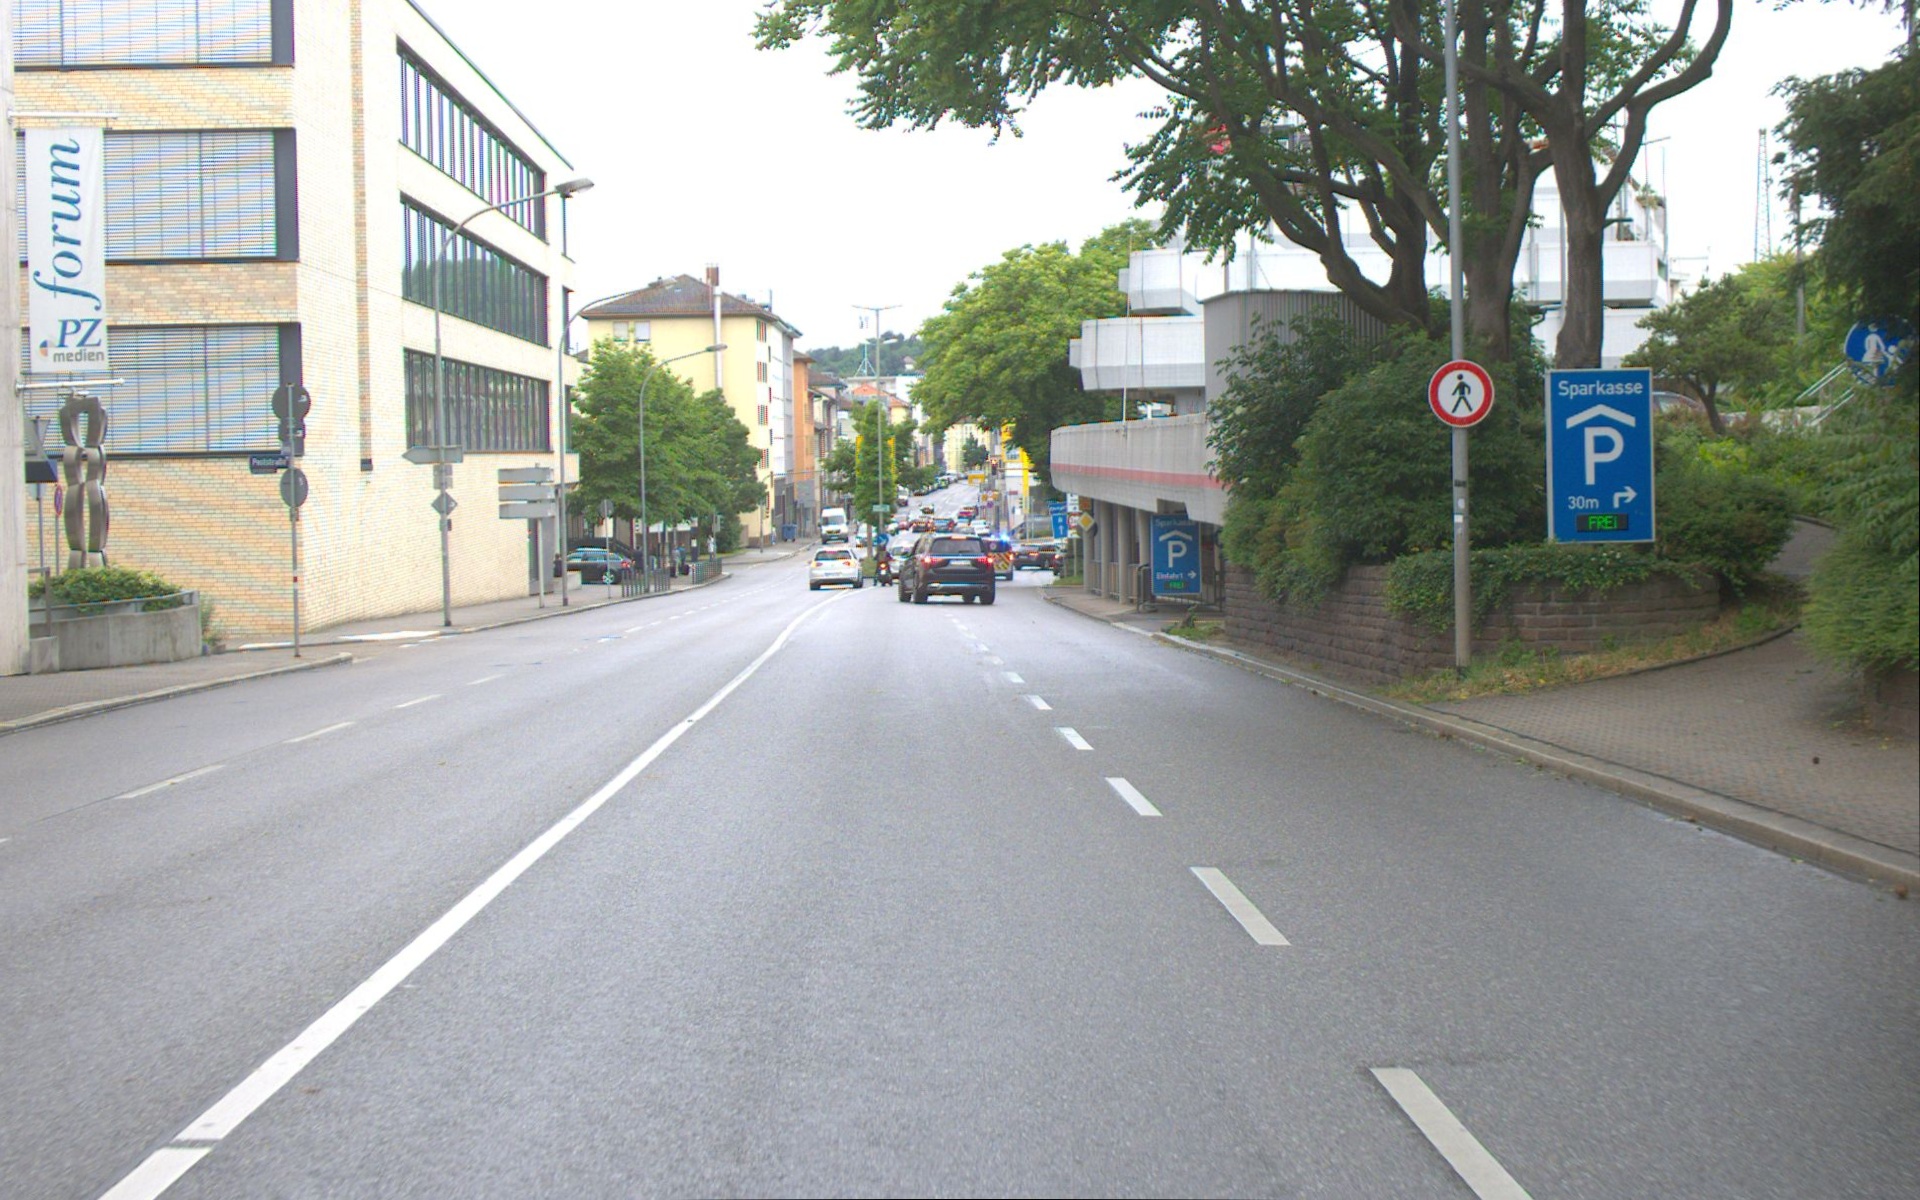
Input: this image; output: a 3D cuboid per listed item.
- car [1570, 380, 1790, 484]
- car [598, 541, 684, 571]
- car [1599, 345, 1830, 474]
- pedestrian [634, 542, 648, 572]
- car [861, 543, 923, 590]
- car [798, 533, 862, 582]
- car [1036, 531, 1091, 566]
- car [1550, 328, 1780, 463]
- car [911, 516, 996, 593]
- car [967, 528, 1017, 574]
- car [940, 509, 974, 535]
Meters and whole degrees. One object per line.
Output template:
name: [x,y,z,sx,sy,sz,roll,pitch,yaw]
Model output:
car: [12.575,-2.920,60.173,3.623,1.700,1.640,-1,1,7]
car: [-13.900,-1.932,149.774,3.654,1.230,1.441,-1,1,-6]
car: [12.520,-3.149,57.203,3.585,2.007,1.596,-1,1,7]
pedestrian: [-13.609,-1.823,146.554,0.454,1.274,0.454,-1,1,10]
car: [-2.569,-1.288,129.797,1.993,1.674,4.001,-1,1,-6]
car: [-4.638,-1.506,121.774,1.993,1.674,4.001,-1,1,-6]
car: [5.172,-2.590,171.747,1.994,1.674,3.998,-1,1,13]
car: [11.217,-3.241,54.837,3.451,2.007,1.653,-1,1,7]
car: [-0.165,-1.177,88.403,2.091,1.904,4.100,-1,1,0]
car: [1.442,-2.237,155.464,2.173,1.997,4.000,-1,1,0]
car: [-0.193,-5.250,231.240,1.993,1.674,4.001,-2,2,-4]
